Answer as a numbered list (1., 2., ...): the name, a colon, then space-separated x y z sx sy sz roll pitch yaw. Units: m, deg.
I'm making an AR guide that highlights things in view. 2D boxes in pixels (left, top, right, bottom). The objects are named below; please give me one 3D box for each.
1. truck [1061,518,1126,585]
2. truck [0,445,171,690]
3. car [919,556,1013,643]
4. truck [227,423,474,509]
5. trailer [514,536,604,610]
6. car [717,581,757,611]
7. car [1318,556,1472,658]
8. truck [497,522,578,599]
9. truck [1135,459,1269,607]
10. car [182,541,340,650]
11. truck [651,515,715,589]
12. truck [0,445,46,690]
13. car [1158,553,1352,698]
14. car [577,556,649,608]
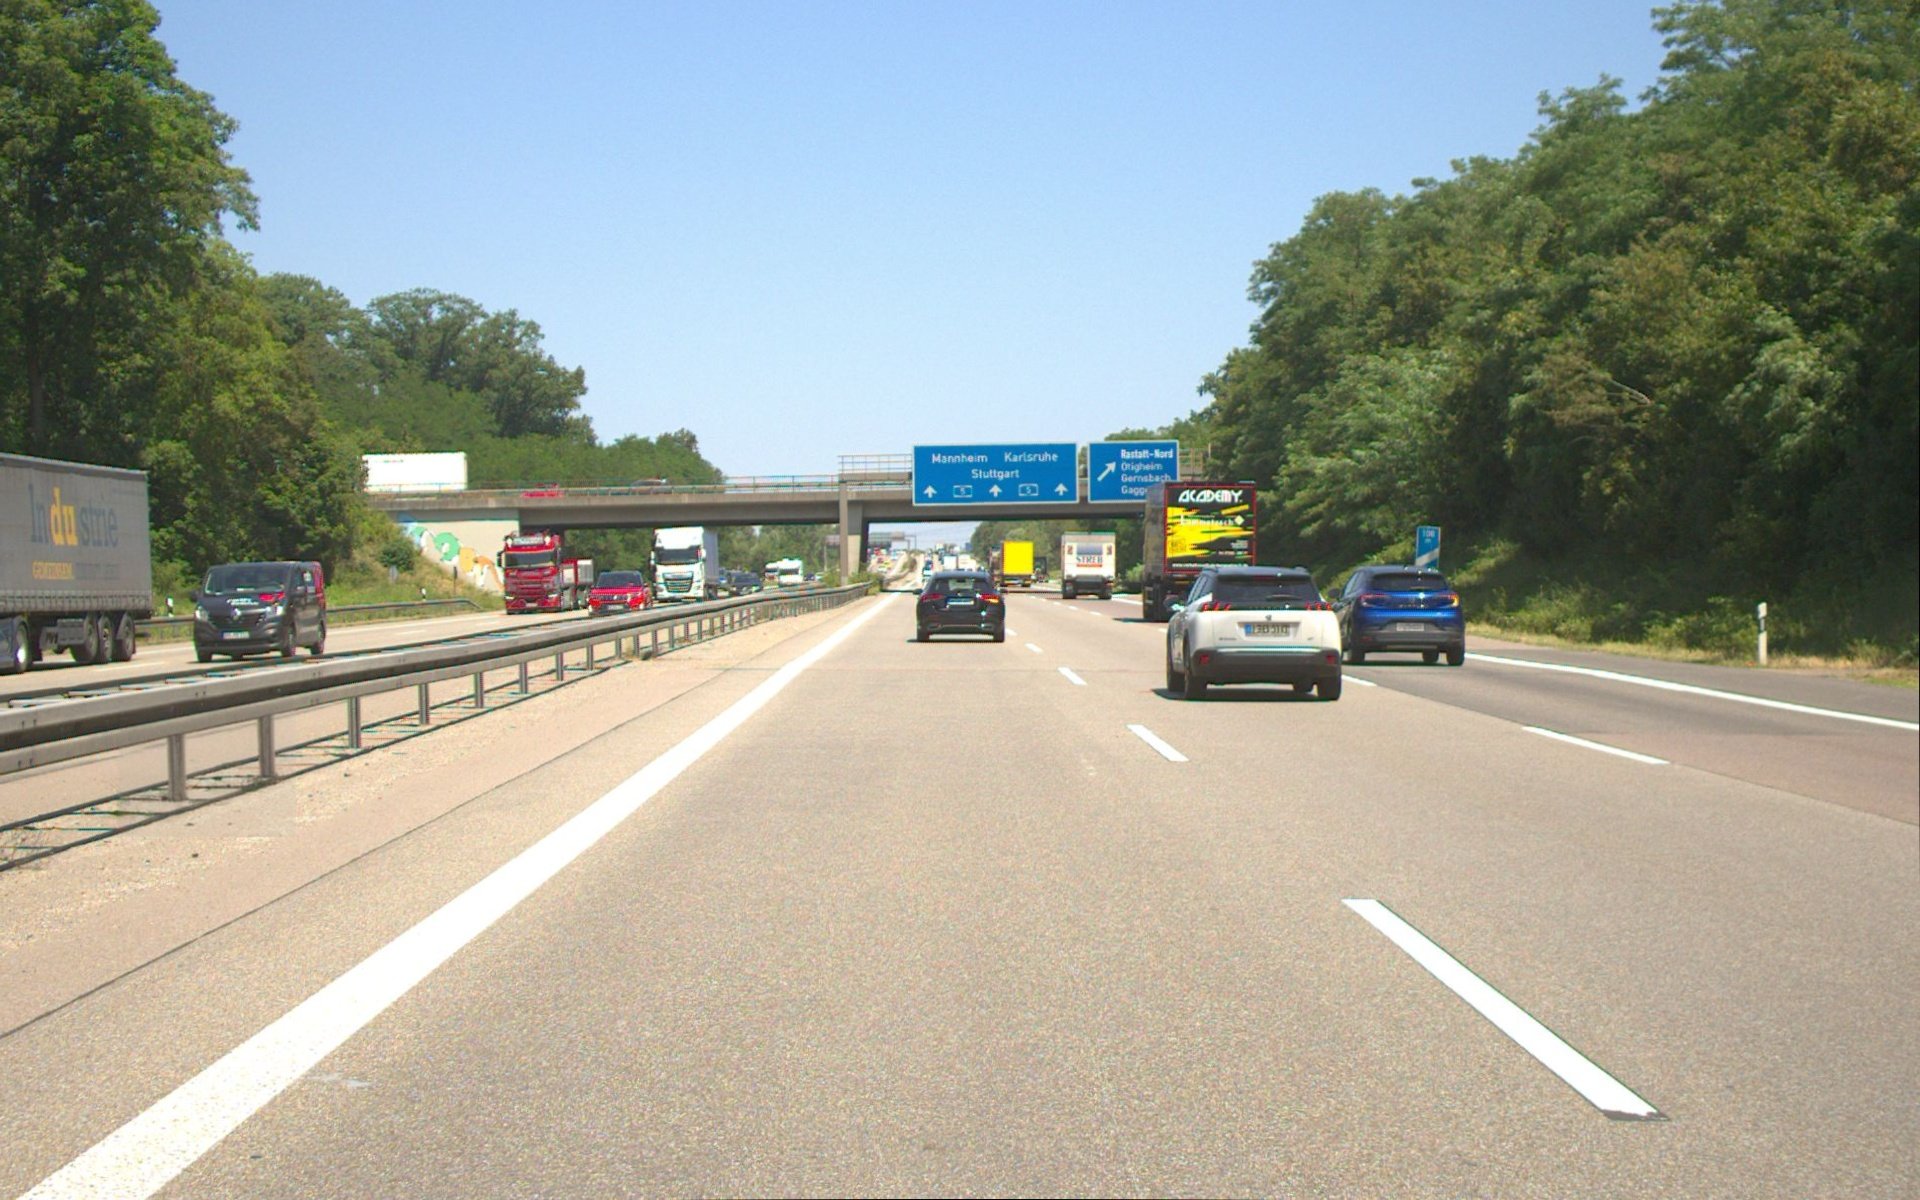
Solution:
1. truck: 7.003 -2.458 178.430 3.028 3.308 10.769 1 0 4
2. truck: -18.691 -0.626 67.564 3.323 4.327 13.911 1 0 -1
3. car: 0.095 -0.013 69.954 1.827 1.700 4.000 1 0 -1
4. truck: -41.698 -9.186 235.731 16.457 5.546 3.175 1 0 -7
5. trailer: -19.237 -1.285 165.812 2.779 3.382 13.290 1 0 0
6. car: -11.828 -0.224 182.402 1.807 1.585 4.669 1 0 0
7. car: 6.876 0.097 54.686 1.870 1.551 4.201 1 0 0
8. truck: -19.281 -1.786 157.157 2.749 3.382 7.662 1 0 0
9. truck: 6.969 -1.890 100.537 2.975 4.023 10.982 1 0 0
10. car: -13.888 -0.100 68.615 1.993 2.007 5.359 -3 0 0
11. truck: -15.280 -2.645 190.042 2.986 4.005 6.041 1 0 0
12. truck: -18.640 -0.591 60.605 3.323 4.327 6.613 1 0 -1
13. car: 3.420 0.272 40.665 1.827 1.603 4.809 0 0 -1
14. car: -10.838 -0.571 107.544 1.731 1.579 4.644 1 0 0
